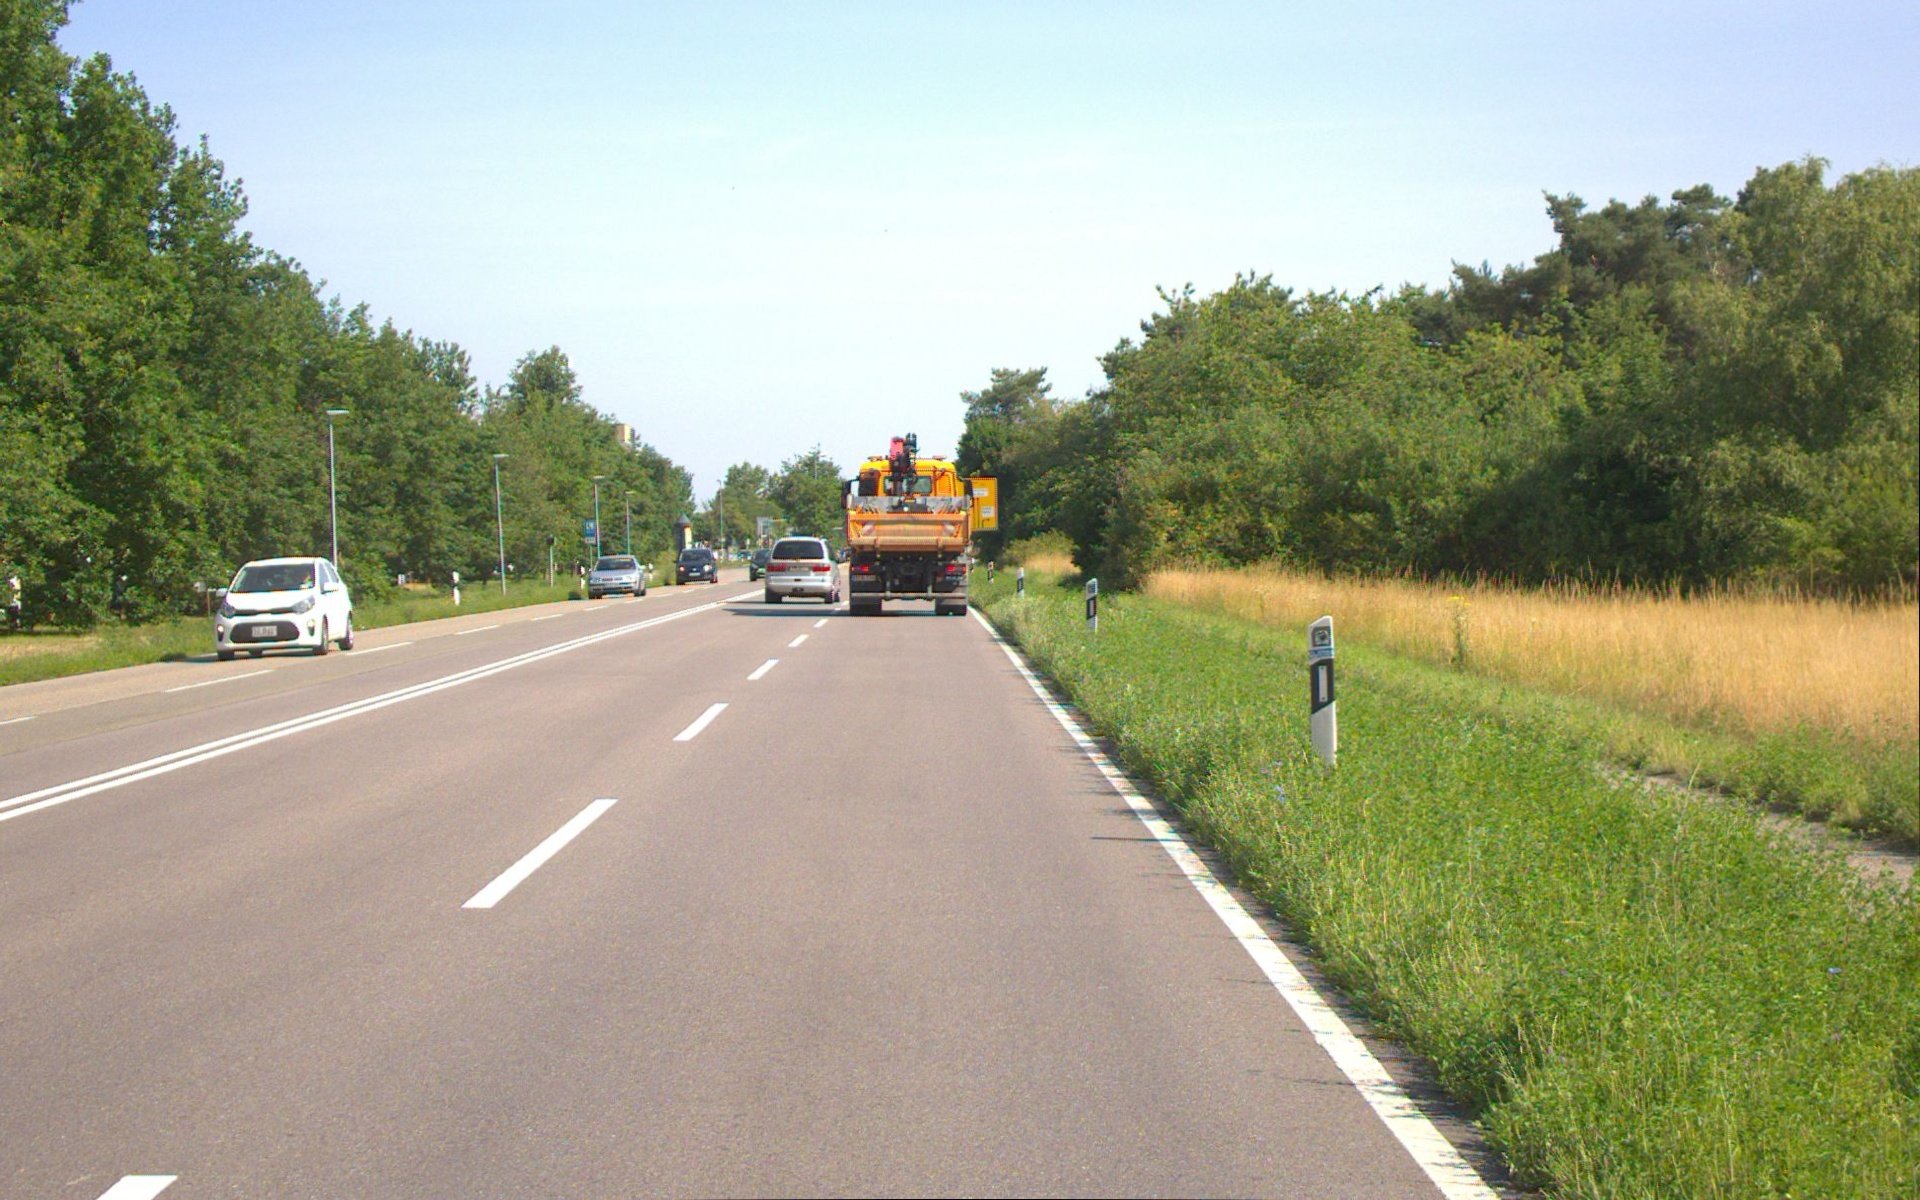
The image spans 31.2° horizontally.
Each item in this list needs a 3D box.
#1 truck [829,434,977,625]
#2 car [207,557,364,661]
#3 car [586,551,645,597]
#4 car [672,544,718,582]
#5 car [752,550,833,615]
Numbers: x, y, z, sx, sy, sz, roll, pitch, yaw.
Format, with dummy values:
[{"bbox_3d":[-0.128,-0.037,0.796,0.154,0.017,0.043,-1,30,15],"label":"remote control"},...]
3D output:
[{"bbox_3d":[-1.309,-1.493,74.019,2.871,3.867,7.401,1,1,-3],"label":"truck"},{"bbox_3d":[-10.248,0.107,52.457,1.659,1.432,3.736,-3,1,-1],"label":"car"},{"bbox_3d":[-11.521,-0.884,115.124,1.598,1.437,4.000,-3,1,-1],"label":"car"},{"bbox_3d":[-12.196,-1.714,158.313,1.825,1.666,4.390,-3,1,-2],"label":"car"},{"bbox_3d":[-4.293,-0.471,88.155,1.993,1.578,4.001,-1,1,-3],"label":"car"}]
